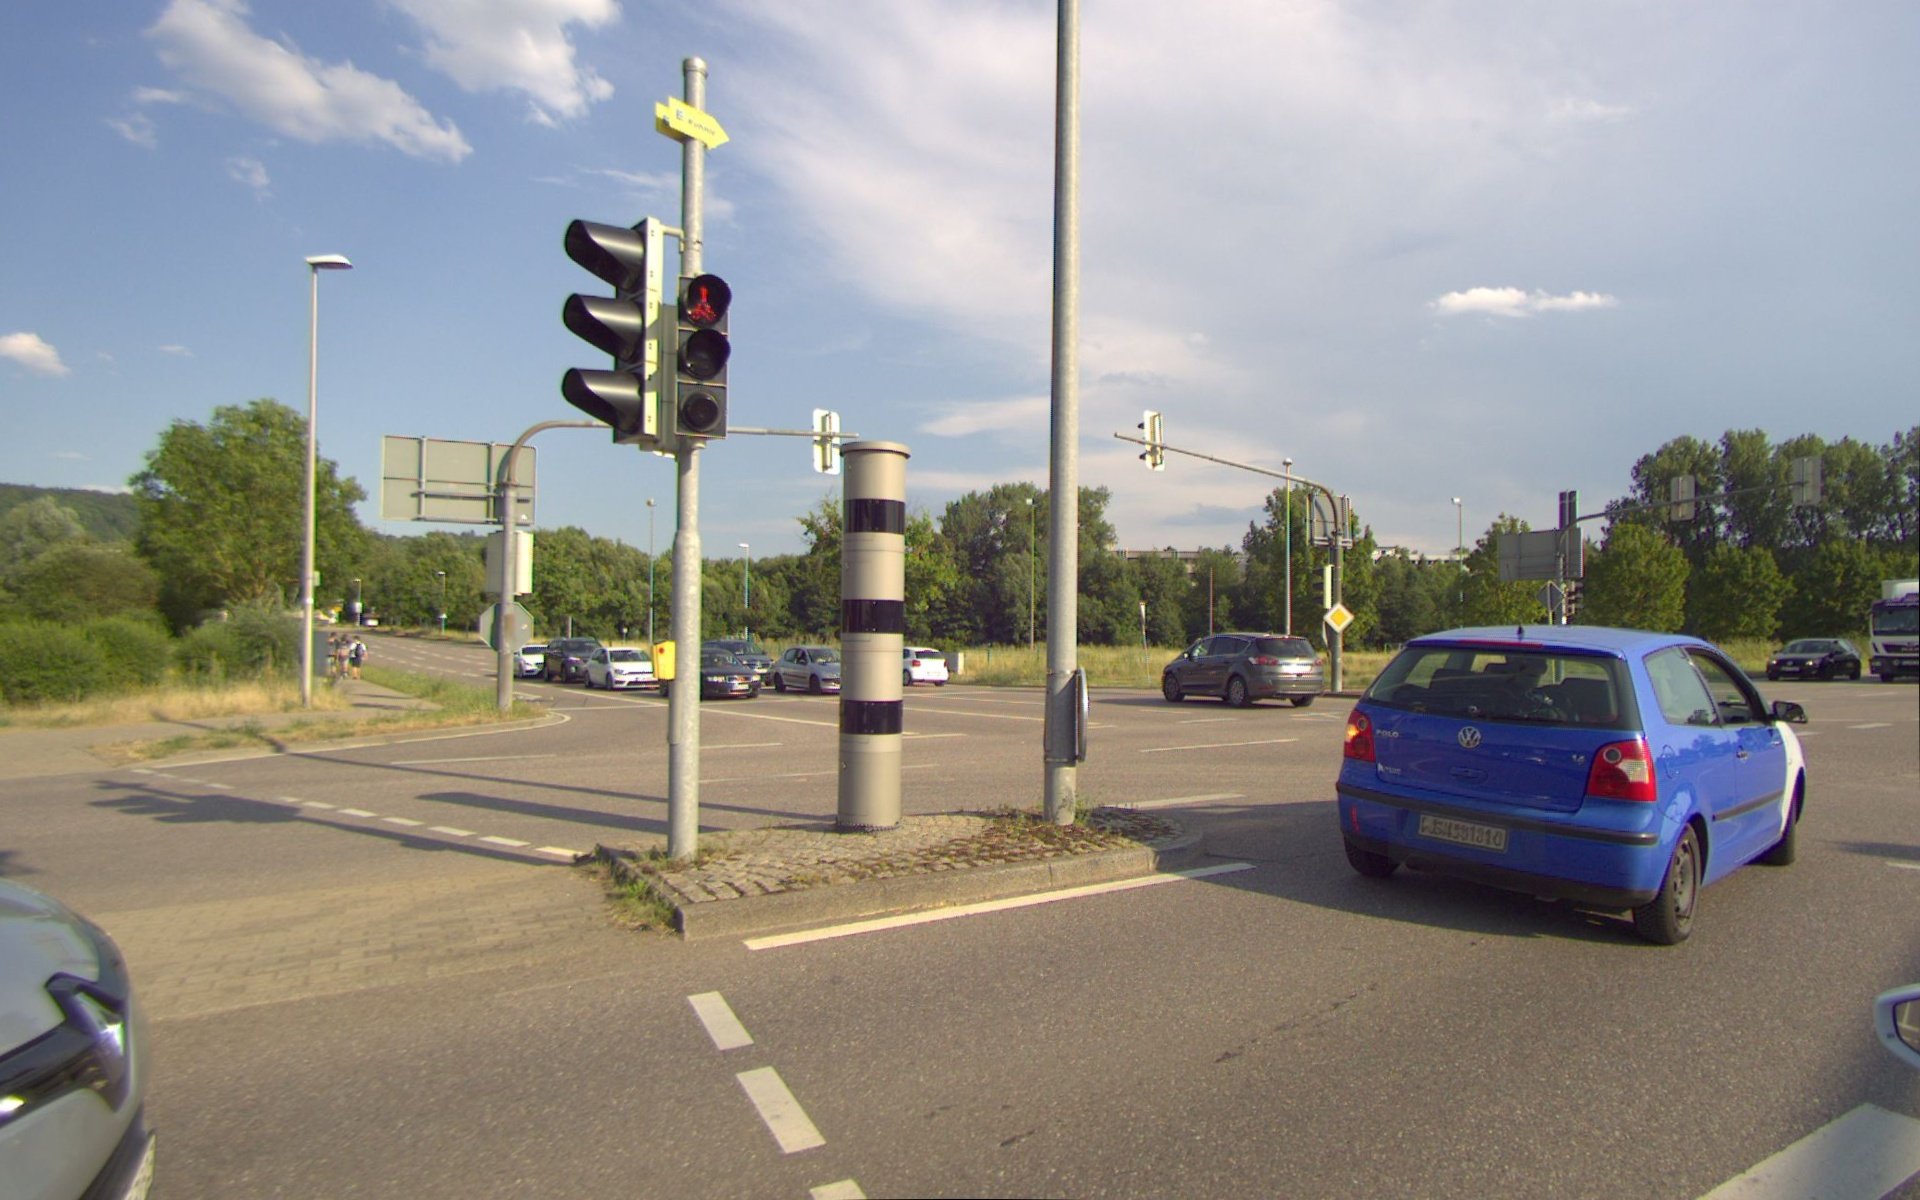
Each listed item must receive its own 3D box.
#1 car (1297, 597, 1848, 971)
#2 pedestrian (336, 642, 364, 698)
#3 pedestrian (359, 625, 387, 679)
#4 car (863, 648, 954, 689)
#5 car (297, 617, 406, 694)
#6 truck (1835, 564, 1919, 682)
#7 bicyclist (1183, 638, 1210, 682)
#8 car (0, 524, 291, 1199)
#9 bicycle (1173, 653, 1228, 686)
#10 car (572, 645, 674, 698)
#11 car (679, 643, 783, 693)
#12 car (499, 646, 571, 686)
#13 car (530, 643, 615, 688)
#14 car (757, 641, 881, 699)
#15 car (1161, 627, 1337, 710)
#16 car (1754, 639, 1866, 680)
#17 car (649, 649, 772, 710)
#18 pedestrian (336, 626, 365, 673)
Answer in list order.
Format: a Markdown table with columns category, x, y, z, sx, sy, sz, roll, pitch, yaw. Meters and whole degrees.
| category | x | y | z | sx | sy | sz | roll | pitch | yaw |
| --- | --- | --- | --- | --- | --- | --- | --- | --- | --- |
| car | 3.817 | 0.816 | 5.987 | 3.861 | 1.519 | 1.673 | 2 | -2 | -40 |
| pedestrian | -23.279 | 2.659 | 38.318 | 0.686 | 2.040 | 0.719 | 2 | 0 | 44 |
| pedestrian | -22.785 | 1.998 | 38.975 | 0.686 | 2.040 | 0.719 | 2 | 0 | 44 |
| car | -1.981 | 2.544 | 37.741 | 1.751 | 1.386 | 3.713 | 2 | -2 | -35 |
| car | -14.066 | 1.234 | 23.386 | 1.744 | 1.528 | 3.698 | 2 | 0 | -25 |
| truck | 34.618 | 0.926 | 35.055 | 10.377 | 3.738 | 2.919 | 2 | -4 | -31 |
| bicyclist | 8.622 | 2.164 | 36.566 | 0.902 | 1.521 | 0.725 | 2 | 0 | 13 |
| car | -3.220 | 0.619 | 0.970 | 4.141 | 1.496 | 1.748 | 1 | -1 | -31 |
| bicycle | 8.715 | 2.522 | 36.506 | 1.896 | 1.053 | 0.709 | 2 | 0 | 13 |
| car | -11.325 | 2.344 | 33.650 | 1.757 | 1.439 | 3.828 | 2 | 0 | -44 |
| car | -7.982 | 2.294 | 34.777 | 1.757 | 1.439 | 3.828 | 2 | 0 | -44 |
| car | -18.424 | 2.832 | 43.467 | 1.754 | 1.439 | 3.833 | 2 | 0 | -41 |
| car | -14.886 | 2.475 | 38.494 | 1.755 | 1.439 | 3.832 | 2 | 0 | -42 |
| car | -4.290 | 2.060 | 30.292 | 1.757 | 1.439 | 3.828 | 2 | 0 | -44 |
| car | 6.458 | 1.547 | 22.970 | 1.895 | 1.712 | 4.142 | 2 | -3 | -18 |
| car | 30.246 | 2.104 | 35.733 | 3.953 | 1.394 | 1.805 | 2 | -4 | -30 |
| car | -7.069 | 2.177 | 28.262 | 1.625 | 1.378 | 3.828 | 2 | 0 | -44 |
| pedestrian | -24.051 | 1.946 | 39.655 | 0.684 | 1.781 | 0.721 | 2 | 0 | 36 |
